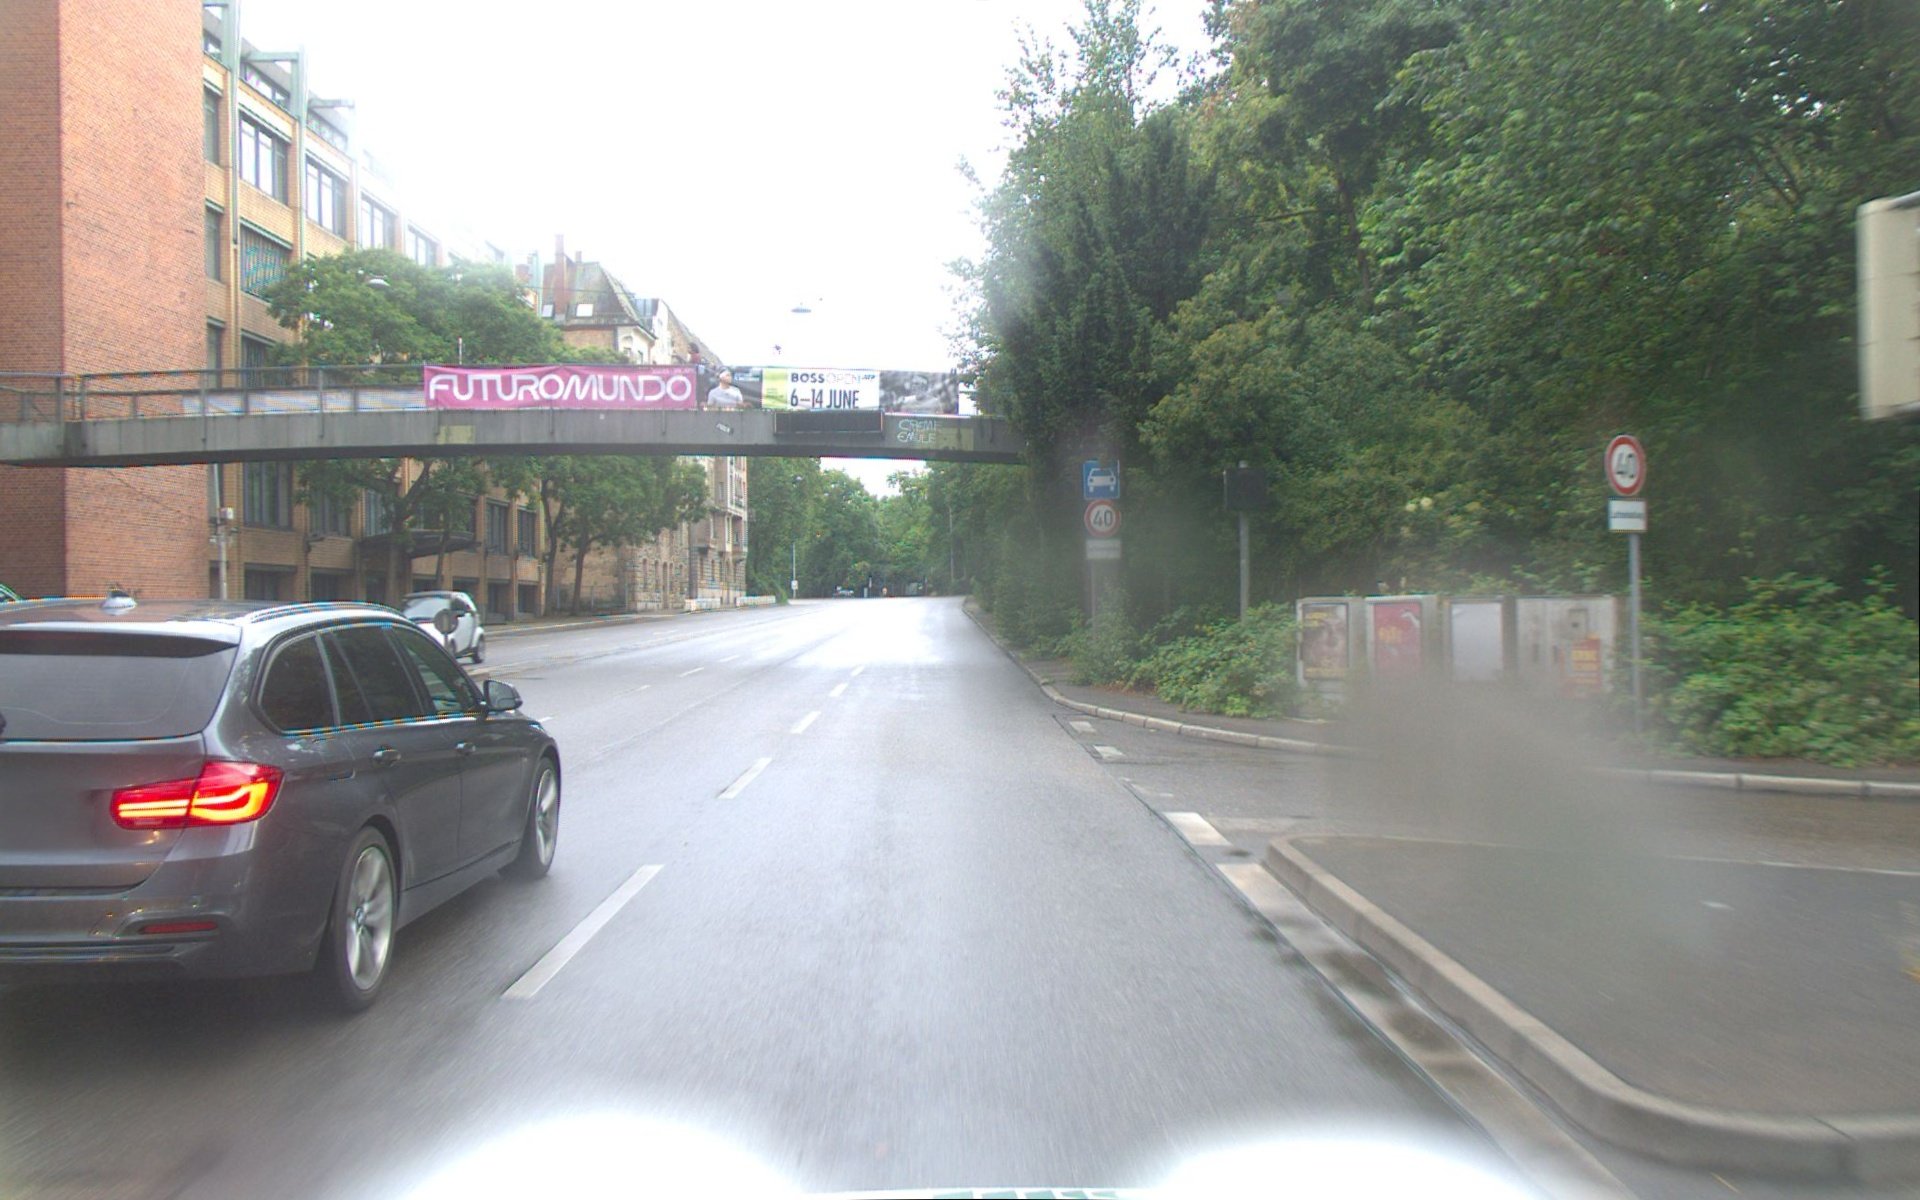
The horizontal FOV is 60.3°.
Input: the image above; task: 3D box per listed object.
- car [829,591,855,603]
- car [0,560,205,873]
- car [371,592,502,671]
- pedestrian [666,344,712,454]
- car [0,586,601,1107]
[{"bbox_3d":[-16.744,-0.429,235.206,3.513,1.574,1.613,2,0,1],"label":"car"},{"bbox_3d":[-6.030,0.597,8.949,1.772,1.685,4.445,2,0,0],"label":"car"},{"bbox_3d":[-10.982,0.630,34.914,1.568,1.525,3.711,-2,0,0],"label":"car"},{"bbox_3d":[-6.294,-4.661,38.484,0.936,2.386,1.005,2,-1,-7],"label":"pedestrian"},{"bbox_3d":[-2.903,0.705,7.016,1.740,1.483,4.477,1,0,0],"label":"car"}]
